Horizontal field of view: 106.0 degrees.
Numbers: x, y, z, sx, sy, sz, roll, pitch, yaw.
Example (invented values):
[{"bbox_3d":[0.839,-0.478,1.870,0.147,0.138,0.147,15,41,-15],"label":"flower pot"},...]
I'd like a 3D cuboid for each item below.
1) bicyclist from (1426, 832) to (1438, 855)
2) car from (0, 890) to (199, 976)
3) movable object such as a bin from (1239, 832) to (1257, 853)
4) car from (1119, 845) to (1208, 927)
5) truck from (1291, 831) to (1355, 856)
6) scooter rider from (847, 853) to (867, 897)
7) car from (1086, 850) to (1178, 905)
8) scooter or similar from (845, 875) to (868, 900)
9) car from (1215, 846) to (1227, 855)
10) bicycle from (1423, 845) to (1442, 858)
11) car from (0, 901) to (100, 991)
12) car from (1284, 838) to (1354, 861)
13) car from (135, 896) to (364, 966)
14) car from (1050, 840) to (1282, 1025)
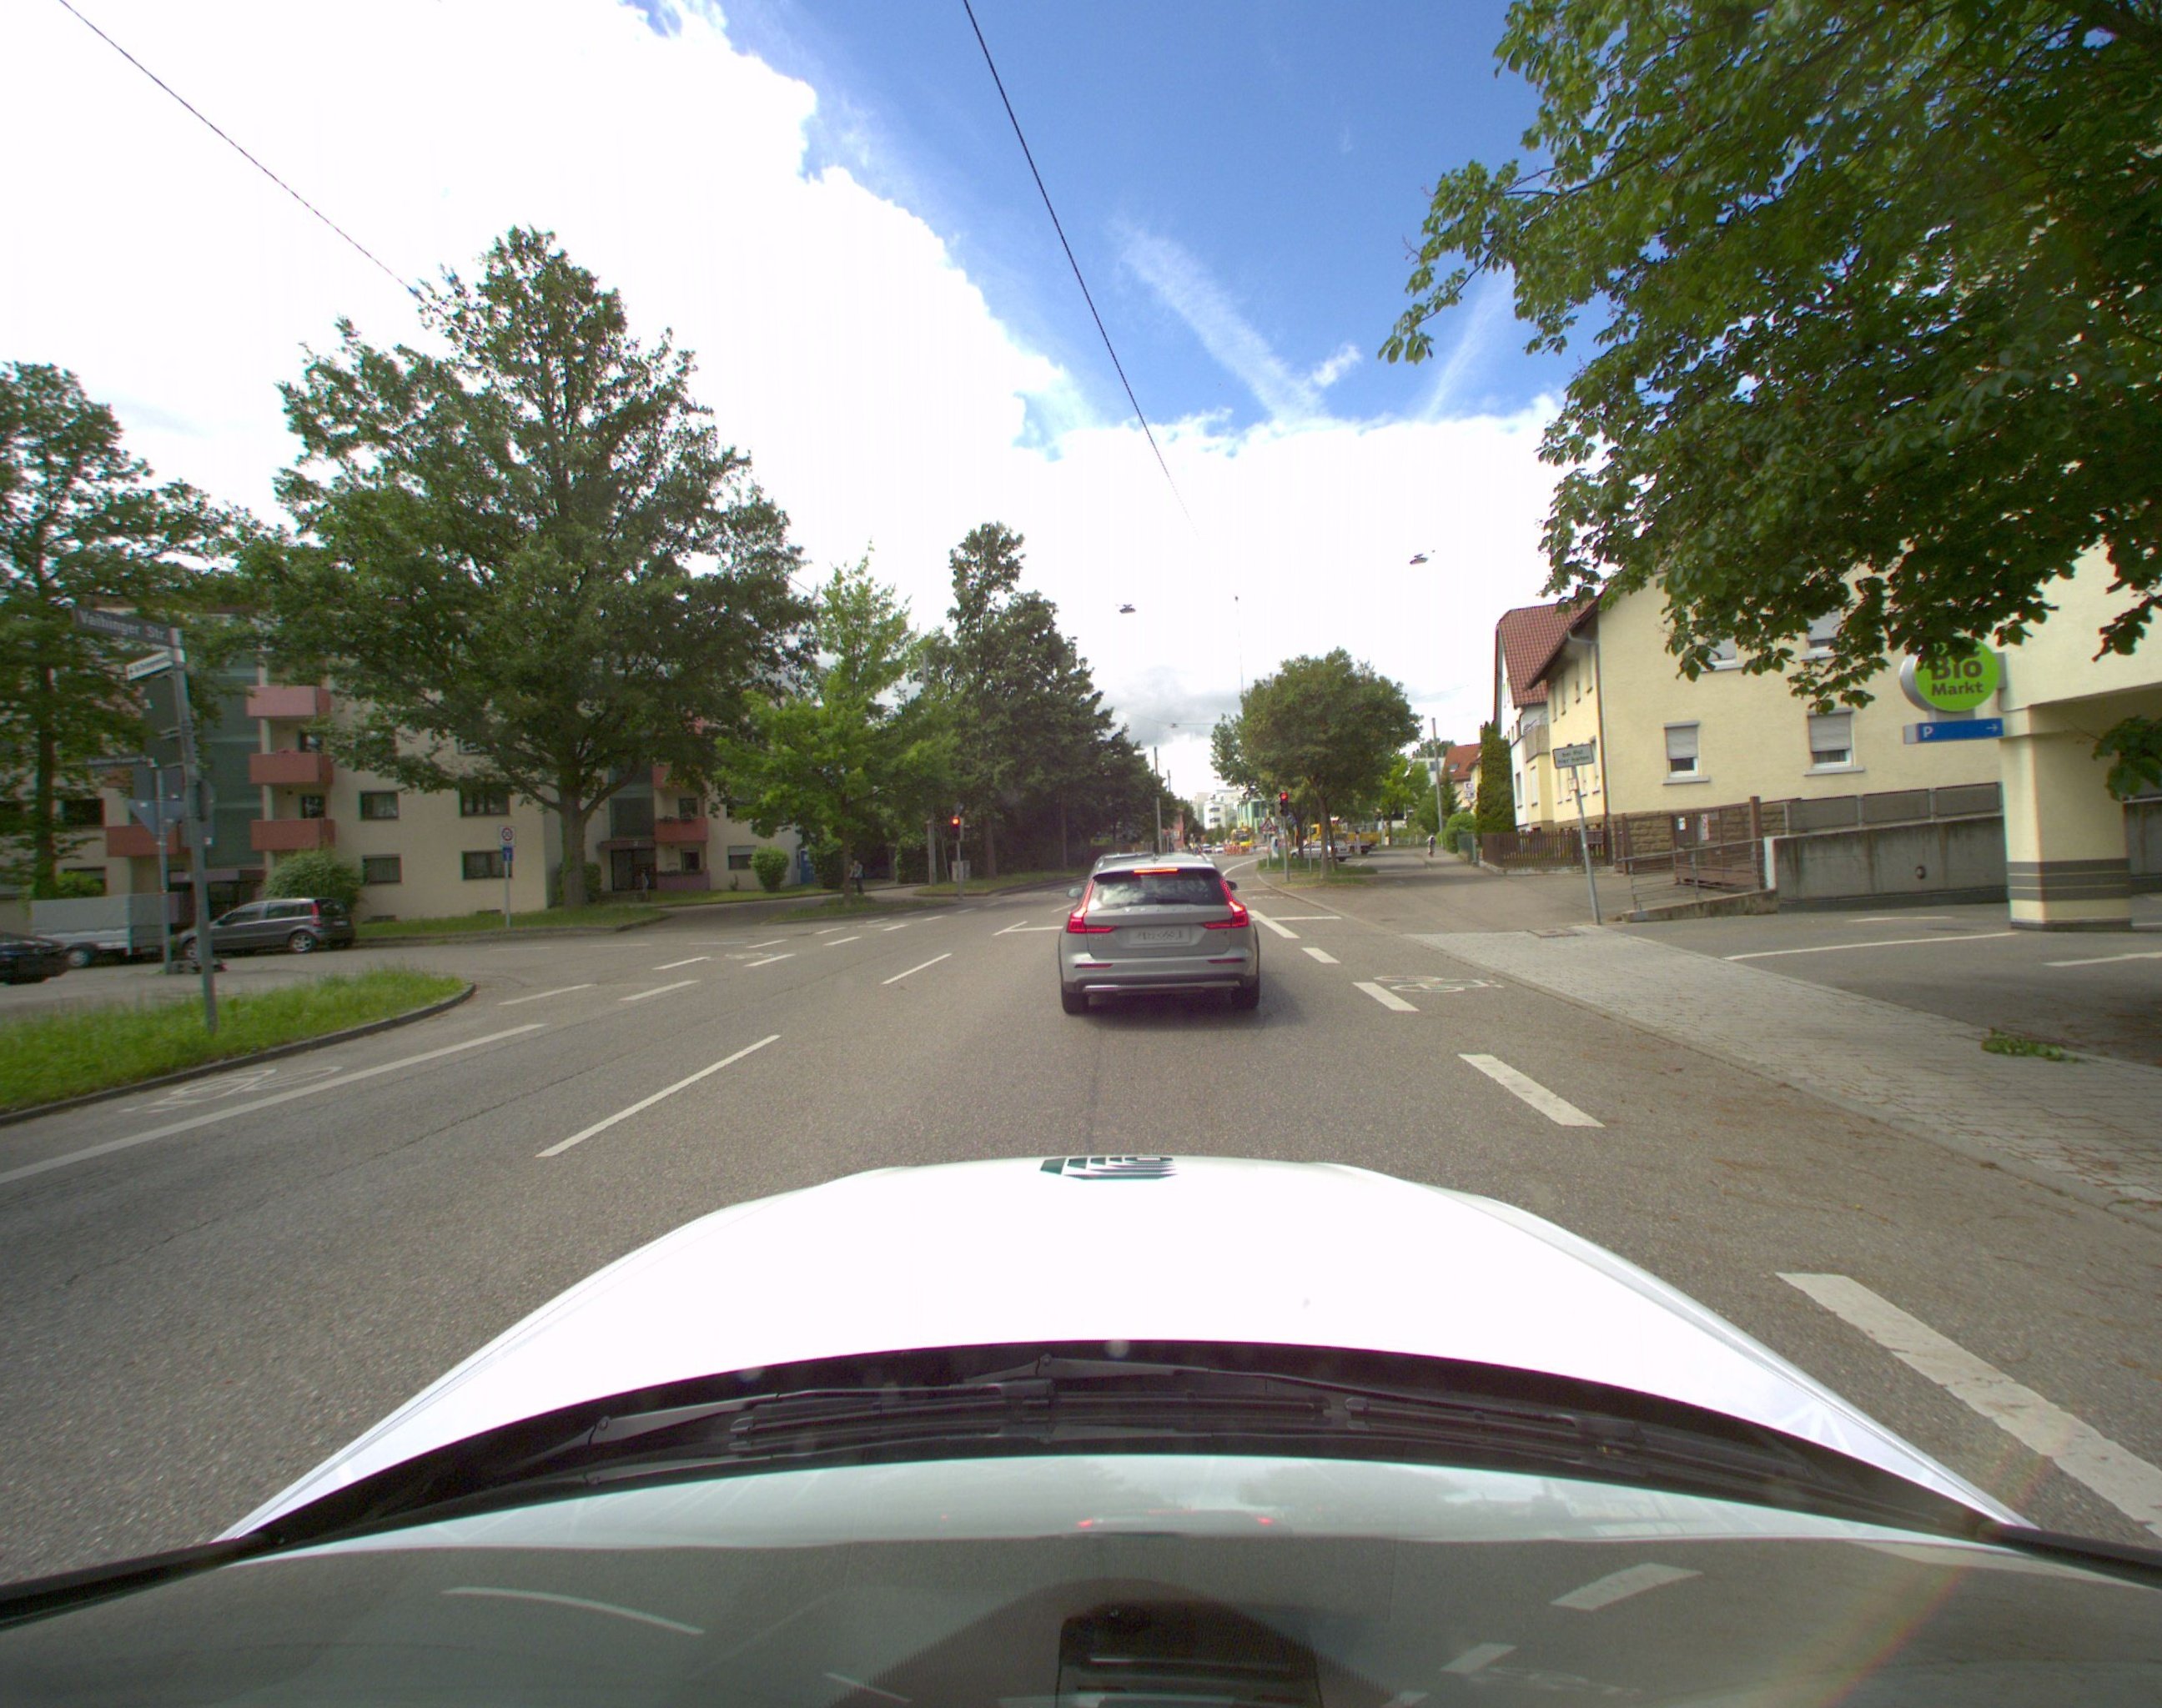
[{"bbox_3d":[24.003,-0.739,55.680,0.587,1.559,0.567,0,-1,1],"label":"bicyclist"},{"bbox_3d":[-26.846,2.109,21.760,3.989,1.844,1.839,-5,0,-11],"label":"car"},{"bbox_3d":[22.581,-1.625,110.152,2.020,2.642,5.962,-3,0,14],"label":"movable object such as a bin"},{"bbox_3d":[1.699,0.601,16.963,1.653,1.508,3.708,0,0,5],"label":"car"},{"bbox_3d":[20.724,-0.825,70.057,2.004,2.014,5.629,0,-1,-26],"label":"truck"},{"bbox_3d":[-10.176,0.945,36.976,0.674,2.014,0.795,0,-1,2],"label":"scooter rider"},{"bbox_3d":[1.626,0.657,24.382,2.087,1.510,4.014,-1,-1,13],"label":"car"},{"bbox_3d":[-10.200,1.522,36.967,0.754,1.083,0.945,0,-1,2],"label":"scooter or similar"},{"bbox_3d":[24.365,-0.632,141.398,1.816,1.330,4.013,-1,-2,12],"label":"car"},{"bbox_3d":[24.005,-0.163,55.675,0.592,0.812,1.755,0,0,2],"label":"bicycle"},{"bbox_3d":[-19.854,1.563,13.658,4.140,1.398,1.731,0,-1,-11],"label":"car"},{"bbox_3d":[16.151,-0.272,55.401,1.773,1.451,4.645,-2,0,-29],"label":"car"},{"bbox_3d":[-22.490,2.035,22.216,3.994,1.452,1.688,-3,0,-15],"label":"car"},{"bbox_3d":[0.774,0.672,8.814,1.921,1.540,4.001,0,-1,2],"label":"car"}]
